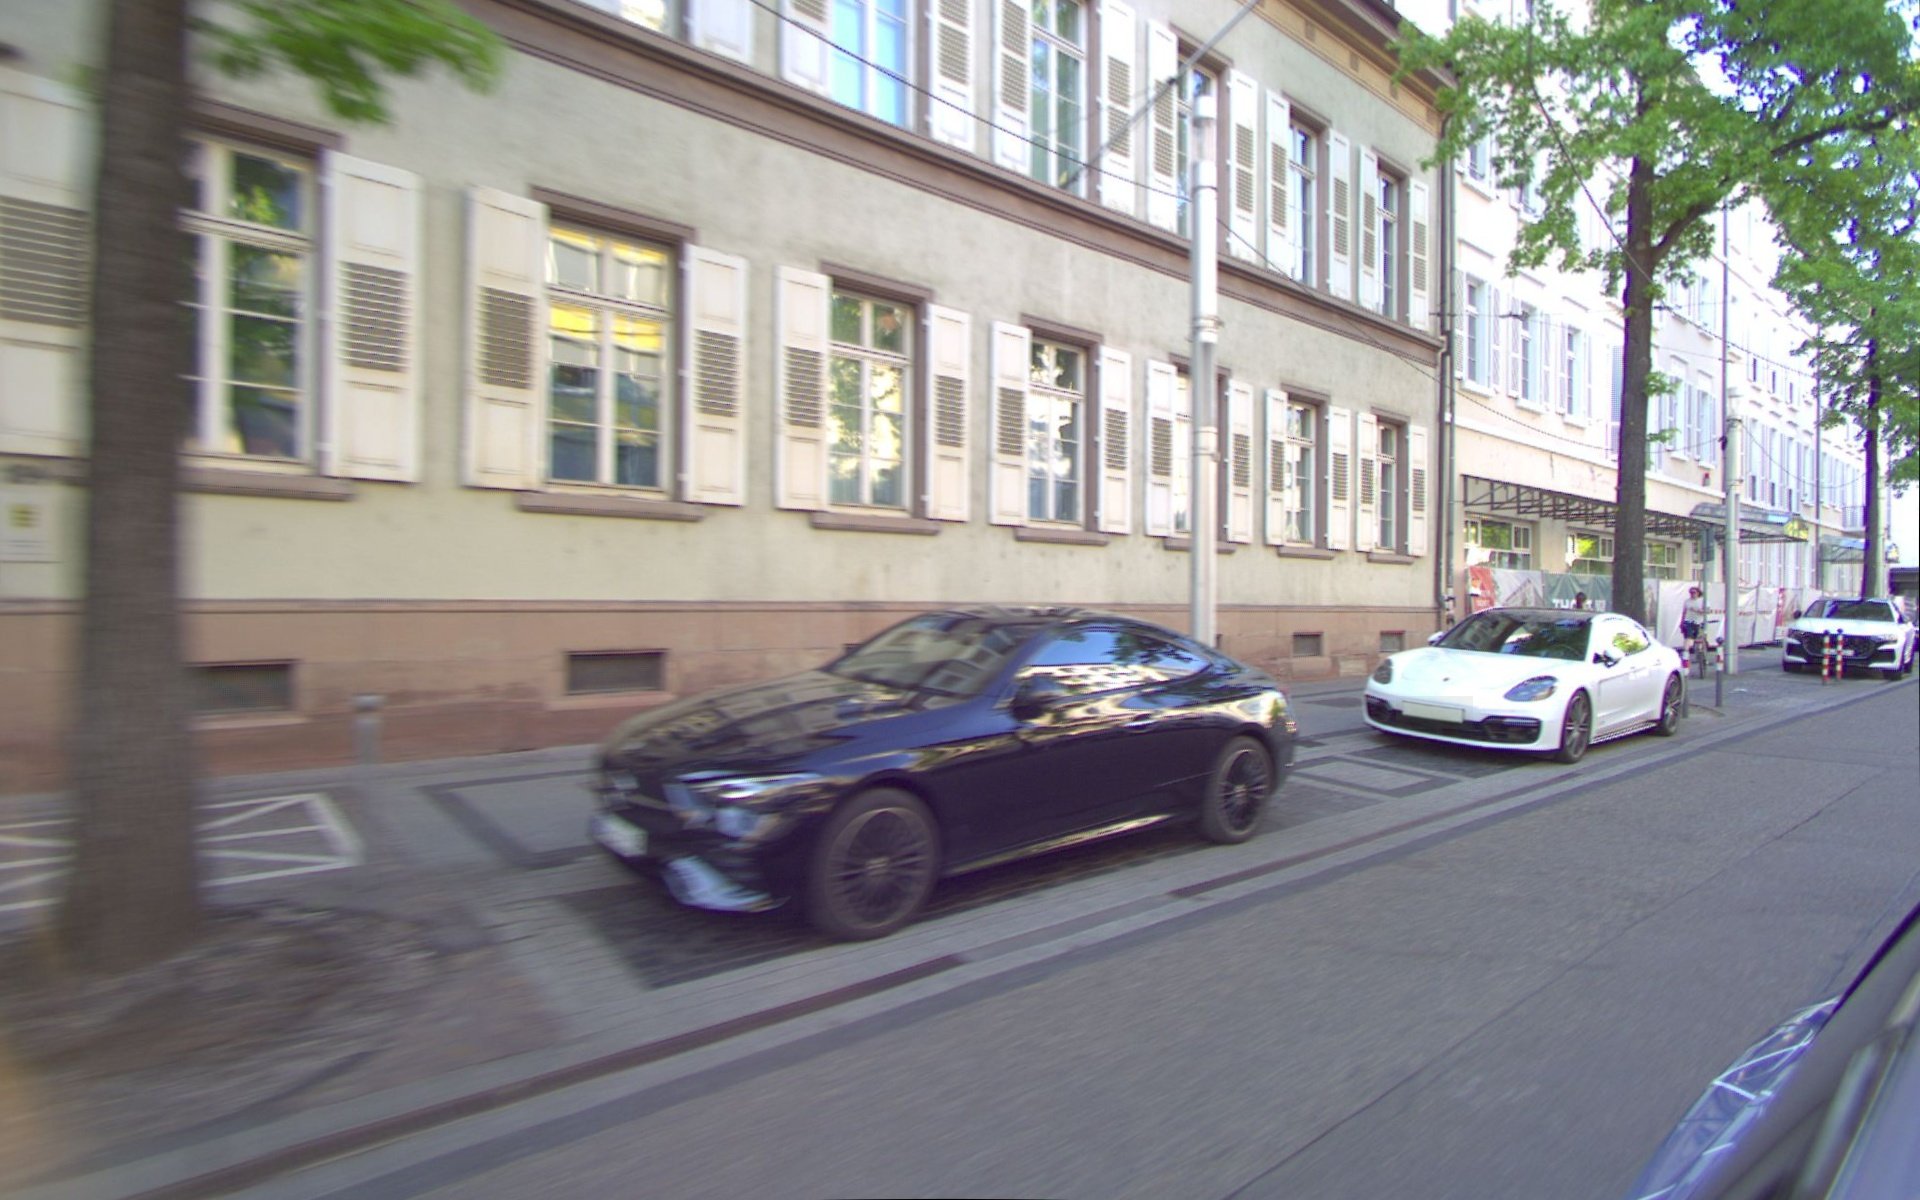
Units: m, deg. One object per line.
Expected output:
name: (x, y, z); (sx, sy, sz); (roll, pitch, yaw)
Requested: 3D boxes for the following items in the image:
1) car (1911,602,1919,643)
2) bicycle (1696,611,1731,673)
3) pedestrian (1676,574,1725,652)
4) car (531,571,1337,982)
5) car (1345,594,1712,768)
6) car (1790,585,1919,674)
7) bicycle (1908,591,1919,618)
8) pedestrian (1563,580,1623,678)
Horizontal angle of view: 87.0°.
car: (34.061, 0.790, 34.537); (4.252, 1.327, 1.798); (0, 2, -40)
bicycle: (14.853, 0.805, 19.927); (0.417, 1.114, 1.959); (2, 2, 40)
pedestrian: (18.671, 0.321, 25.521); (1.034, 1.910, 0.714); (1, 1, -40)
car: (0.169, 0.644, 6.022); (4.678, 1.496, 1.837); (0, 3, -41)
car: (6.425, 0.717, 11.188); (4.800, 1.438, 1.917); (0, 3, -40)
car: (20.295, 0.562, 22.645); (4.884, 1.708, 2.000); (-1, 3, -43)
bicycle: (38.489, 0.199, 40.310); (0.650, 1.084, 1.656); (3, 1, 31)
pedestrian: (10.602, 0.474, 16.957); (0.784, 1.593, 0.650); (0, 0, -40)
